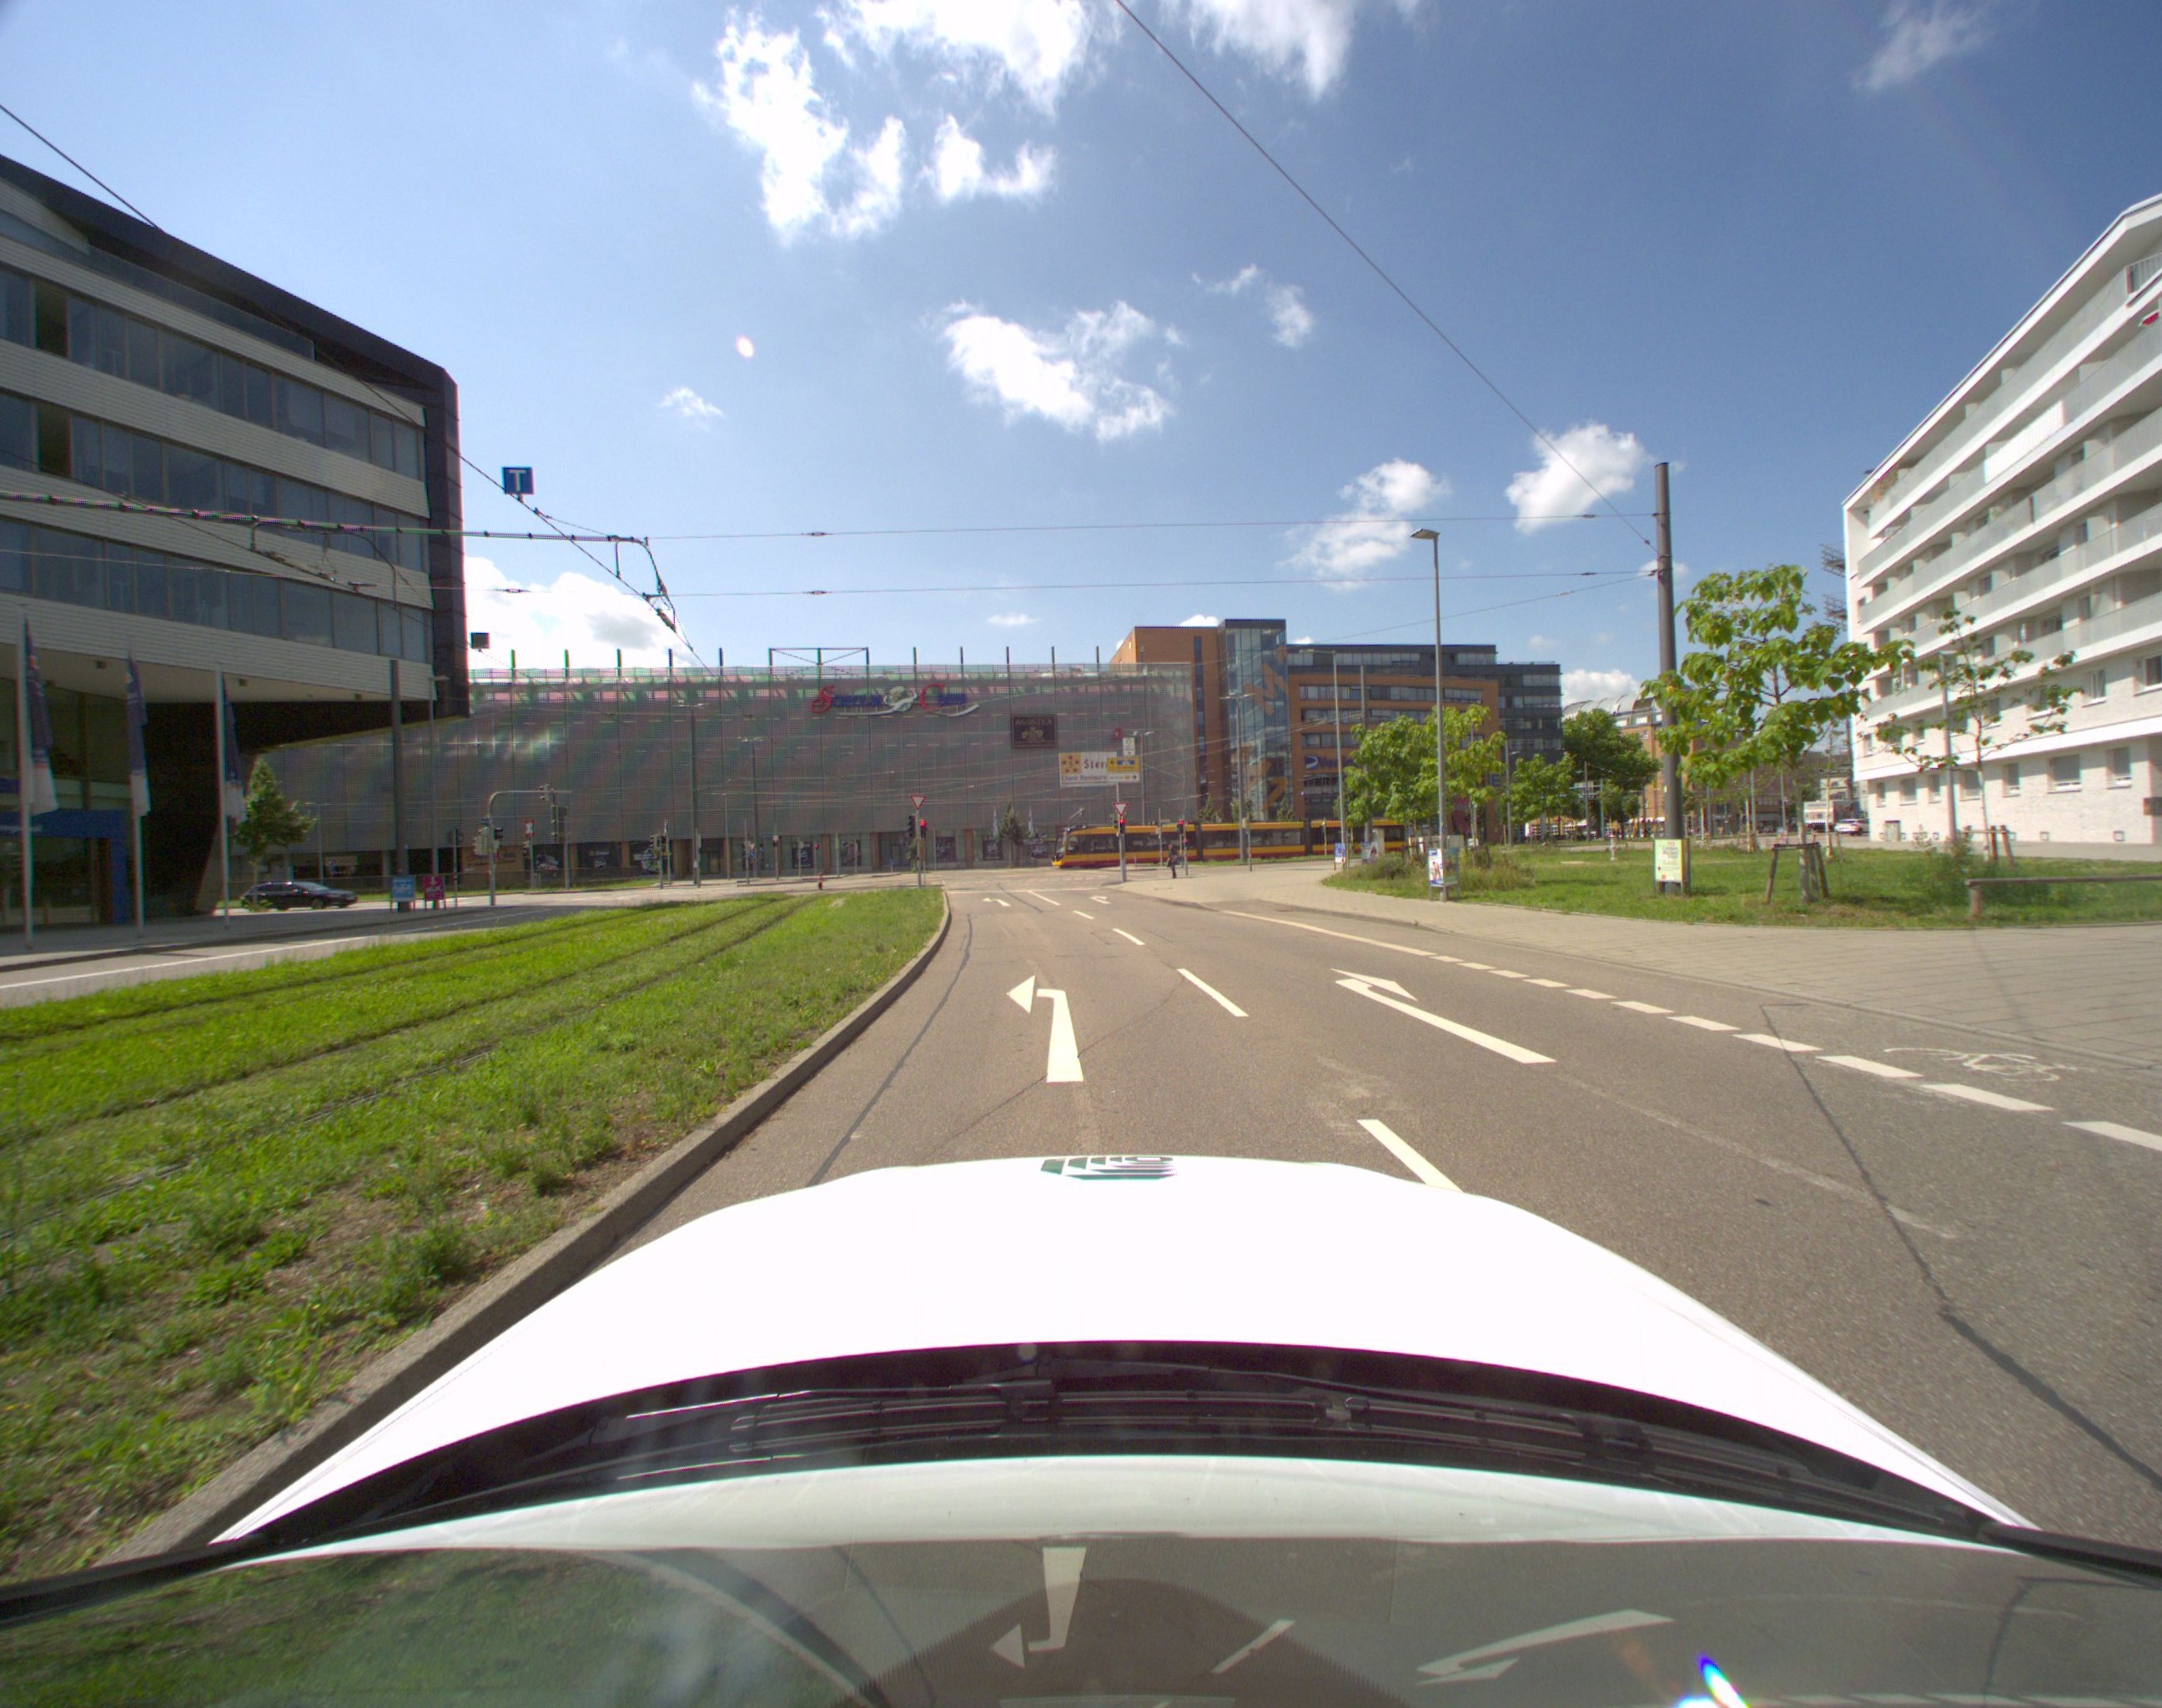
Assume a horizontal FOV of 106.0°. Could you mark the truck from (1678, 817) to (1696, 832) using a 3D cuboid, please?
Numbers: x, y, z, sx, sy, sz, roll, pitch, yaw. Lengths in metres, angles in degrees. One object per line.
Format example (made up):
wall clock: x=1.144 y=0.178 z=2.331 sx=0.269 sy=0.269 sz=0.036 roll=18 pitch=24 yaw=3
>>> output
truck: x=89.806 y=-4.308 z=120.651 sx=1.974 sy=2.085 sz=5.559 roll=-1 pitch=0 yaw=38

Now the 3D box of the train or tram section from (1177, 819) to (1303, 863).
train or tram section: x=14.179 y=-1.193 z=72.472 sx=10.989 sy=3.603 sz=3.046 roll=-1 pitch=0 yaw=-19

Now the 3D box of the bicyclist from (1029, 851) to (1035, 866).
bicyclist: x=-5.441 y=0.507 z=90.259 sx=0.662 sy=1.623 sz=0.549 roll=-1 pitch=0 yaw=-8

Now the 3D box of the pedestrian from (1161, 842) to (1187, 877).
pedestrian: x=4.663 y=0.261 z=40.742 sx=0.812 sy=1.702 sz=0.908 roll=-3 pitch=0 yaw=-37

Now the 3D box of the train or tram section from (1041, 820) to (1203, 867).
train or tram section: x=3.559 y=-0.953 z=67.894 sx=13.524 sy=3.599 sz=3.200 roll=-1 pitch=0 yaw=-26

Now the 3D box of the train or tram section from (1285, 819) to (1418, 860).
train or tram section: x=25.421 y=-1.403 z=76.431 sx=12.634 sy=3.621 sz=3.045 roll=-1 pitch=0 yaw=-19

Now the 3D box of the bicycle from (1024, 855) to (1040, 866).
bicycle: x=-5.453 y=0.722 z=90.258 sx=1.759 sy=1.224 sz=0.583 roll=-1 pitch=0 yaw=-8

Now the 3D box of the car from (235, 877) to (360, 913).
car: x=-38.739 y=2.005 z=40.336 sx=4.096 sy=1.469 sz=1.822 roll=-2 pitch=0 yaw=-8
